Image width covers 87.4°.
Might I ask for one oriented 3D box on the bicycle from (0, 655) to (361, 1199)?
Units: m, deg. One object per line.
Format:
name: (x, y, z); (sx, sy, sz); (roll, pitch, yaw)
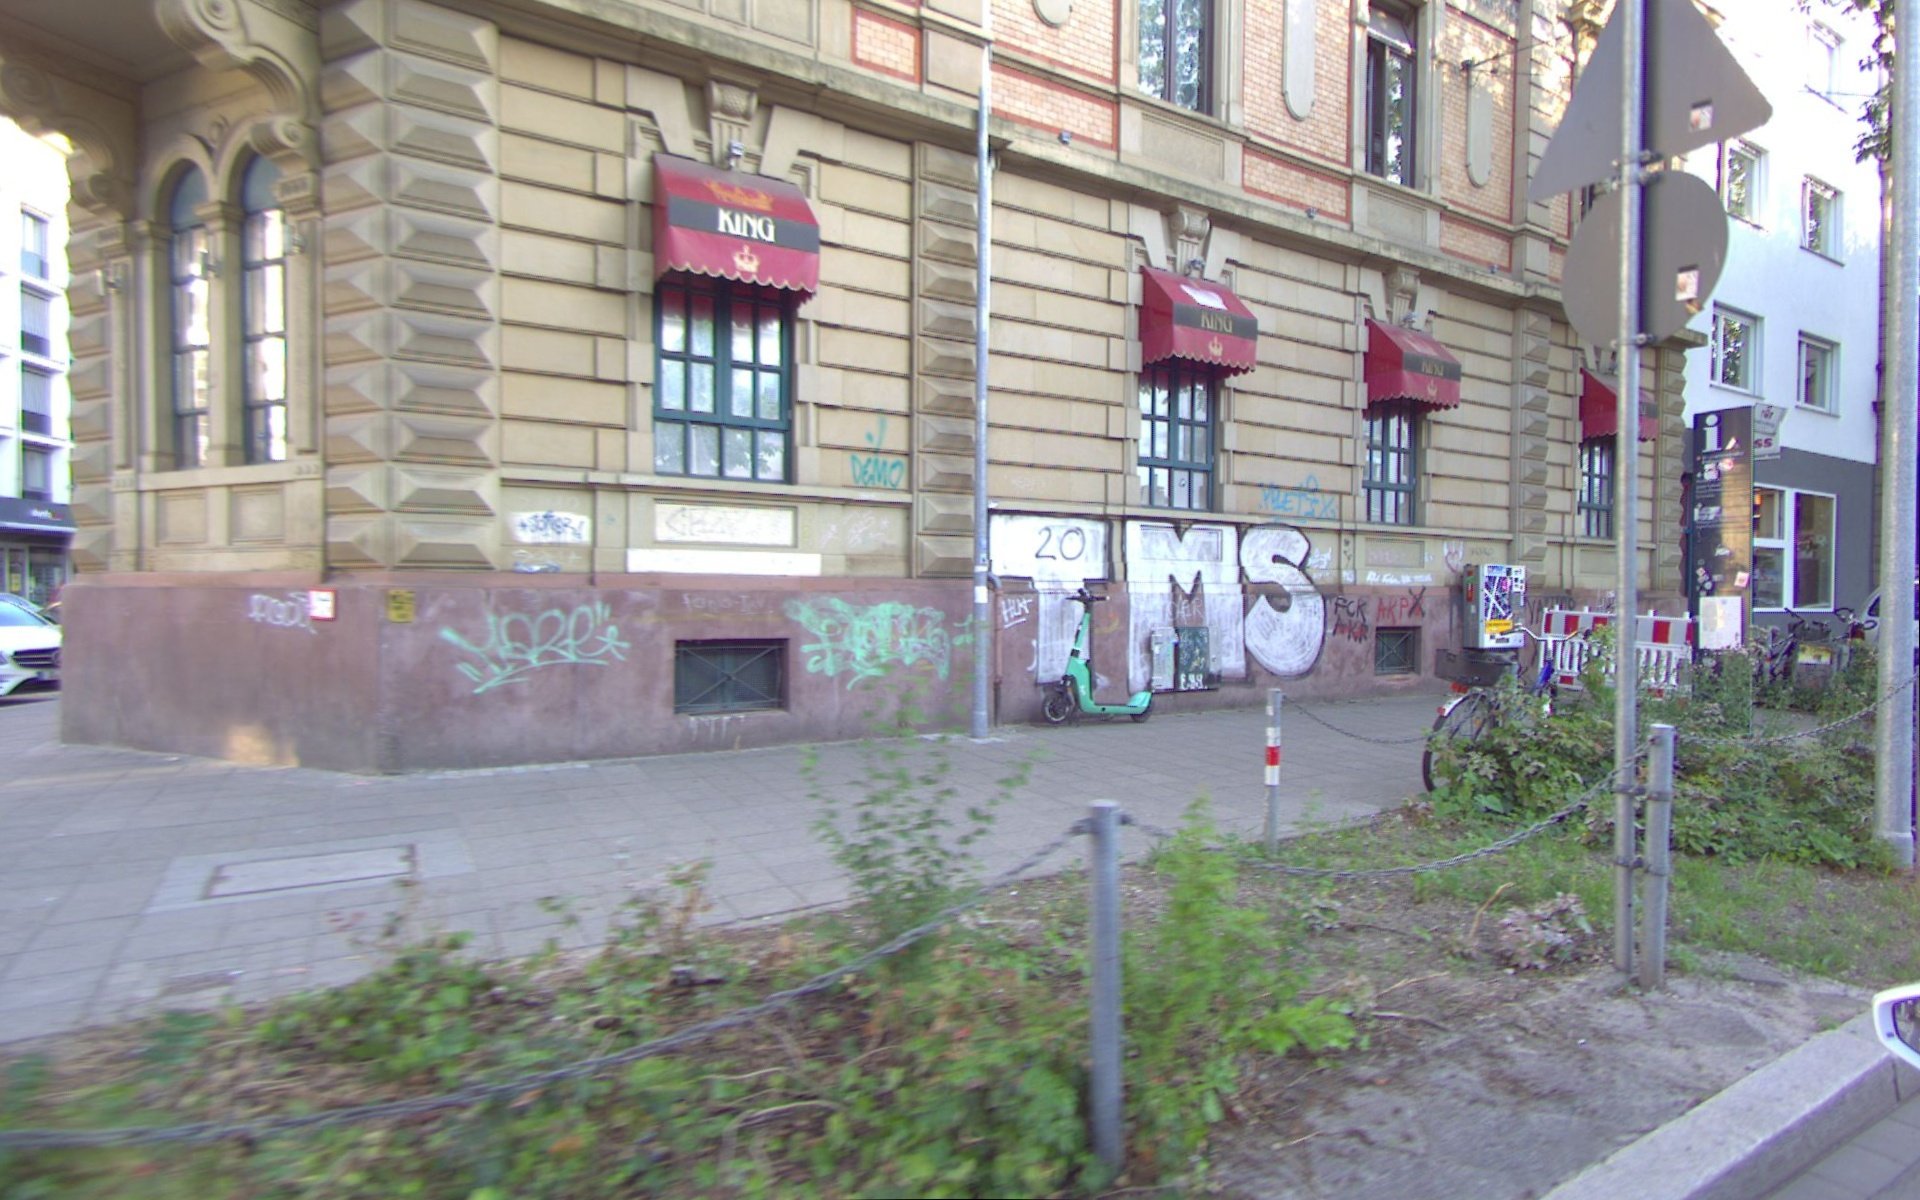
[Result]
bicycle: (-2.107, 0.730, 0.923); (2.530, 1.284, 0.843); (0, 0, -16)

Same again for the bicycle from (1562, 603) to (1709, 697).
bicycle: (9.425, 0.655, 13.987); (2.533, 1.218, 0.633); (0, 0, -30)

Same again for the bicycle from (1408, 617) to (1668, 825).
bicycle: (3.825, 0.715, 6.582); (2.077, 1.169, 0.508); (0, 2, -31)

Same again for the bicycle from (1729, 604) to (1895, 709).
bicycle: (10.761, 0.669, 12.658); (2.603, 1.202, 0.731); (0, 2, -30)

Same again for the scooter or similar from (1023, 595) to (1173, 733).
scooter or similar: (1.253, 0.562, 9.130); (1.267, 1.184, 0.438); (1, 2, -19)

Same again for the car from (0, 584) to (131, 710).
car: (-13.605, 0.623, 13.457); (4.538, 1.532, 1.769); (-1, 0, 20)

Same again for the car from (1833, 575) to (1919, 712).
car: (14.507, 0.595, 13.018); (1.813, 1.859, 4.521); (0, 0, -33)
